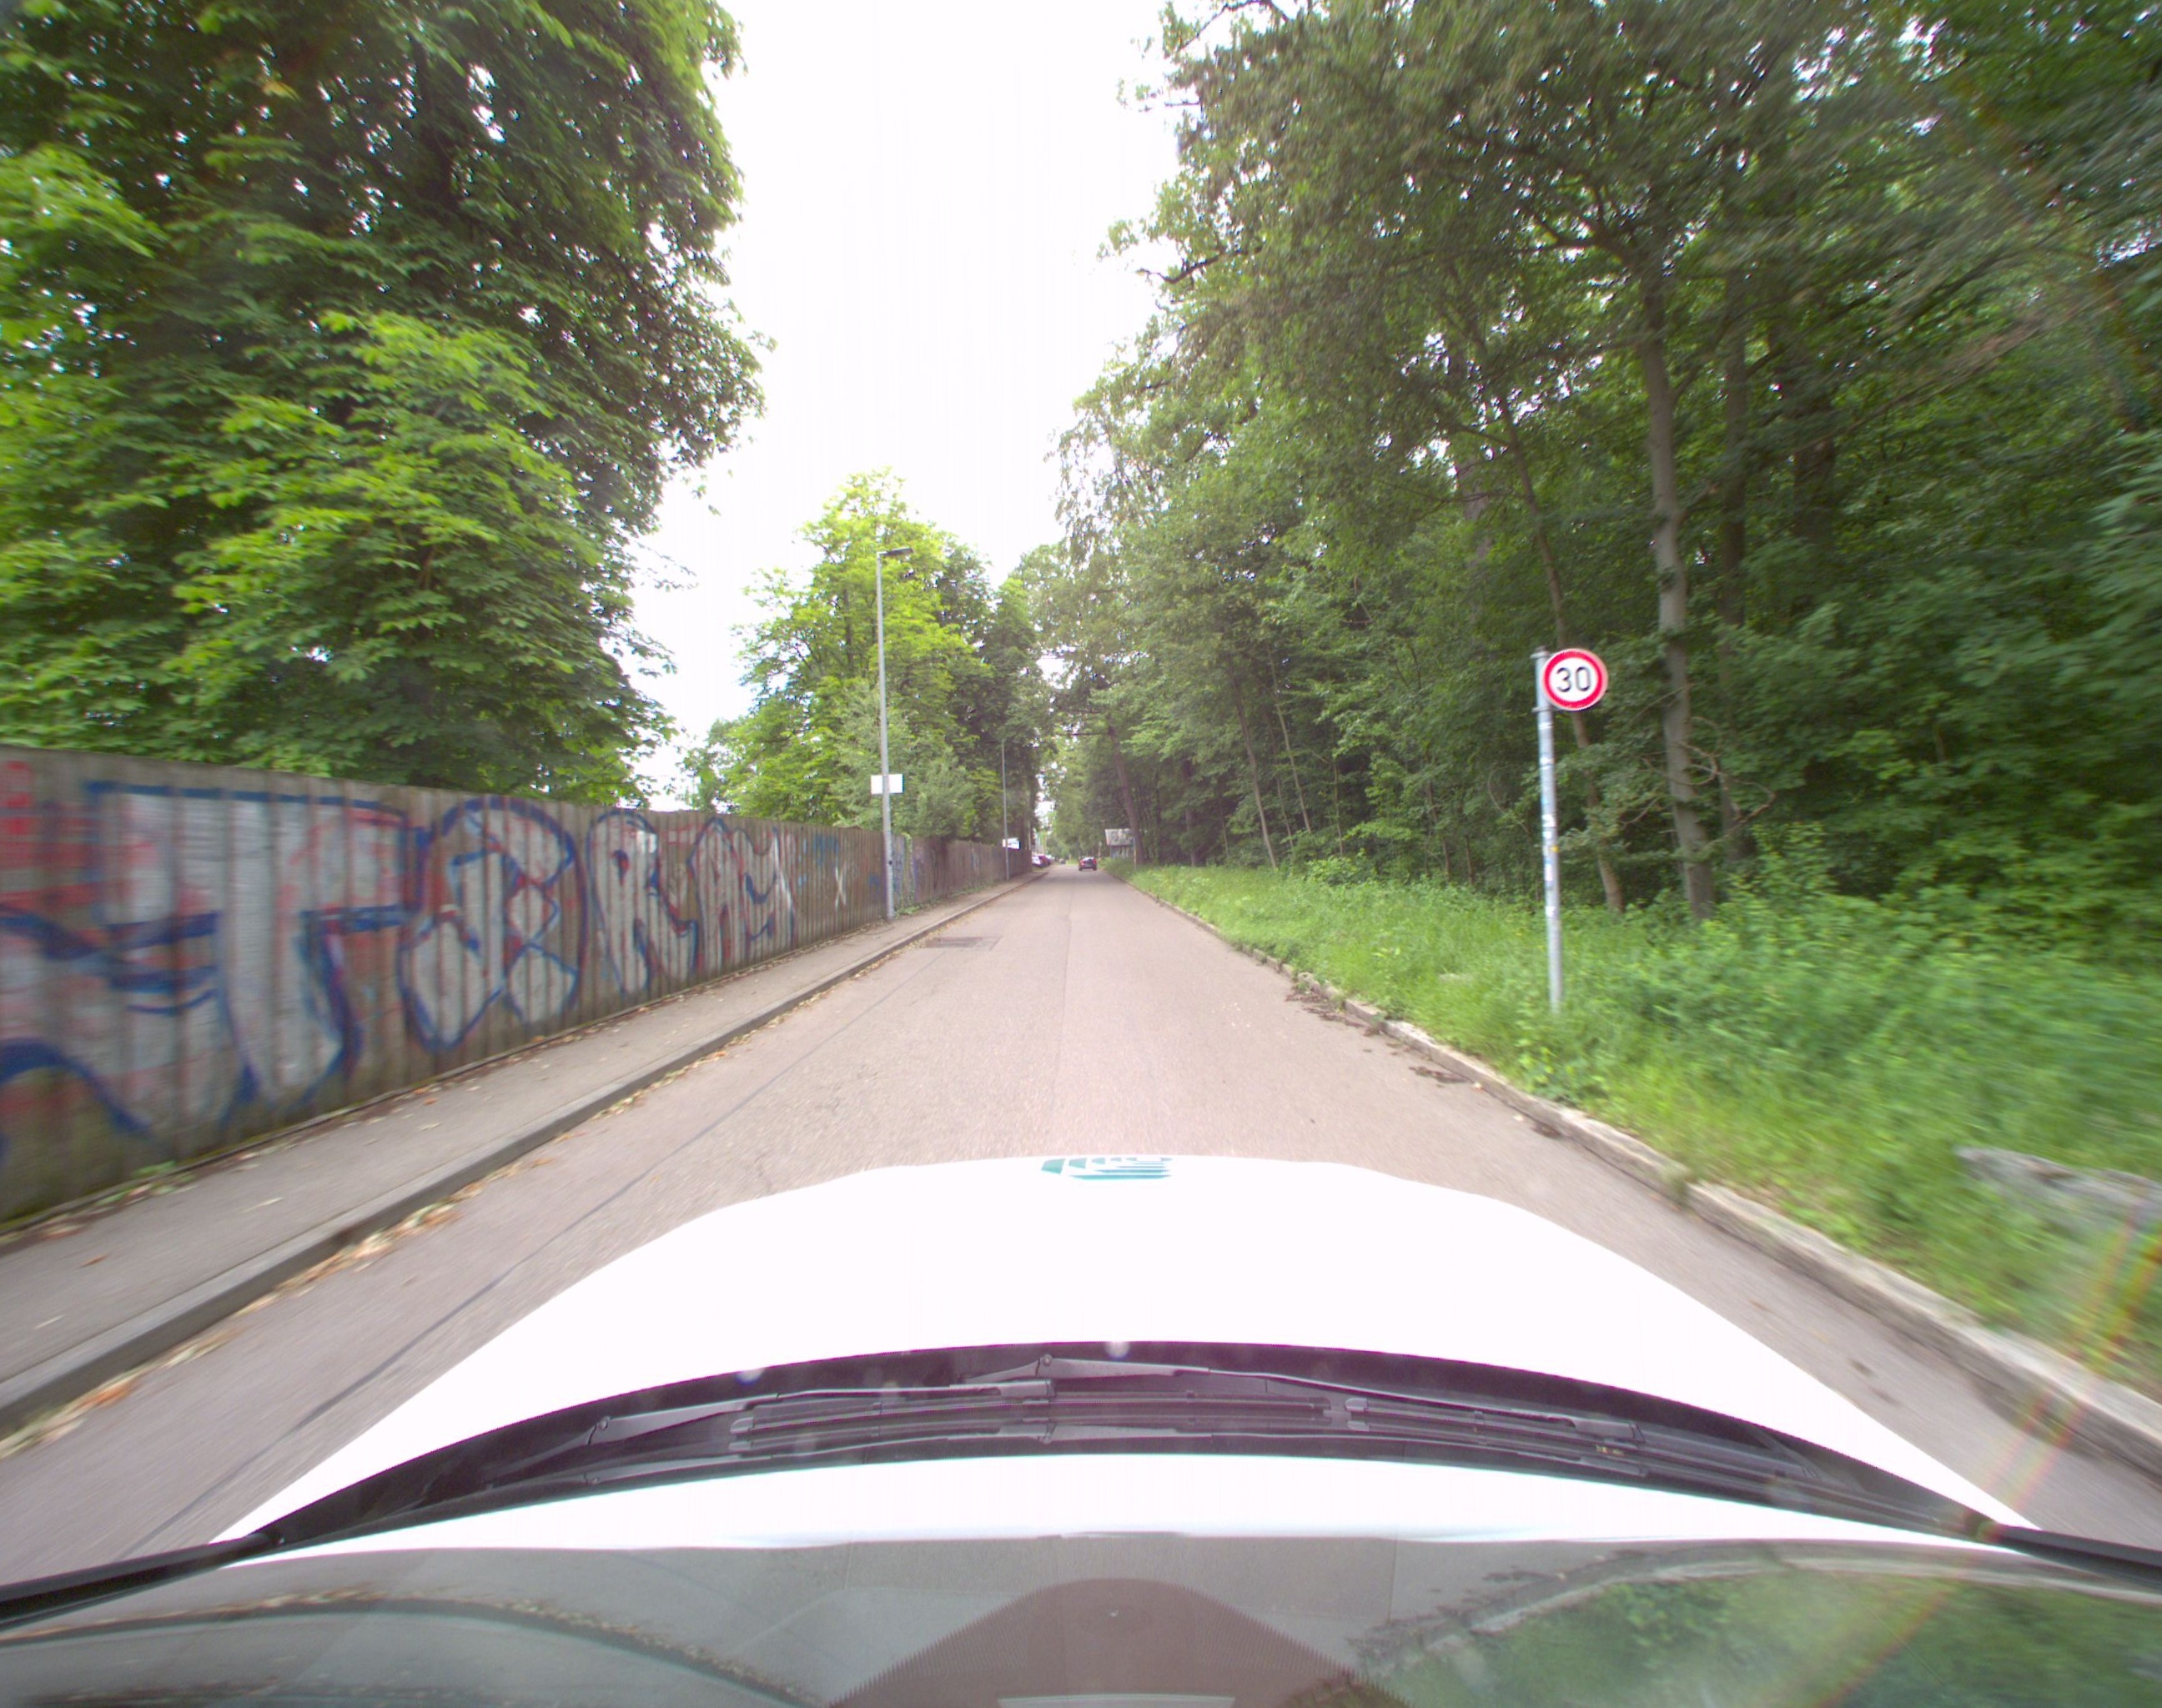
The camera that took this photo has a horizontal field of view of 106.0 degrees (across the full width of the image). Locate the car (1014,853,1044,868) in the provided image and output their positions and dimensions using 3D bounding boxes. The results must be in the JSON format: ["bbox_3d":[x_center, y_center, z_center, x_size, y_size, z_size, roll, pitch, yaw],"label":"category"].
[{"bbox_3d":[-6.979,0.888,109.649,3.980,1.750,1.997,-2,0,-5],"label":"car"}]

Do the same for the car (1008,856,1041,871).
[{"bbox_3d":[-6.875,1.155,98.937,3.980,1.574,1.997,-3,0,-5],"label":"car"}]

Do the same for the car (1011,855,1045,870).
[{"bbox_3d":[-6.297,0.974,96.621,3.980,1.574,1.997,-3,0,-5],"label":"car"}]

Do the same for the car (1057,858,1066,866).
[{"bbox_3d":[-5.261,2.145,219.293,1.991,2.013,3.991,-3,0,-6],"label":"car"}]

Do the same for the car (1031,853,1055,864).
[{"bbox_3d":[-6.698,0.787,144.010,3.976,1.596,1.764,-4,-1,-1],"label":"car"}]

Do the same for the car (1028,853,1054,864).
[{"bbox_3d":[-6.321,0.710,128.352,3.976,1.596,1.764,-4,-1,-1],"label":"car"}]

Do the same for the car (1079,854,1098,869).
[{"bbox_3d":[0.751,0.786,81.725,1.901,1.508,4.000,0,-1,1],"label":"car"}]

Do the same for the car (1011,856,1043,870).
[{"bbox_3d":[-6.933,1.136,104.561,3.980,1.574,1.997,-2,0,-5],"label":"car"}]
